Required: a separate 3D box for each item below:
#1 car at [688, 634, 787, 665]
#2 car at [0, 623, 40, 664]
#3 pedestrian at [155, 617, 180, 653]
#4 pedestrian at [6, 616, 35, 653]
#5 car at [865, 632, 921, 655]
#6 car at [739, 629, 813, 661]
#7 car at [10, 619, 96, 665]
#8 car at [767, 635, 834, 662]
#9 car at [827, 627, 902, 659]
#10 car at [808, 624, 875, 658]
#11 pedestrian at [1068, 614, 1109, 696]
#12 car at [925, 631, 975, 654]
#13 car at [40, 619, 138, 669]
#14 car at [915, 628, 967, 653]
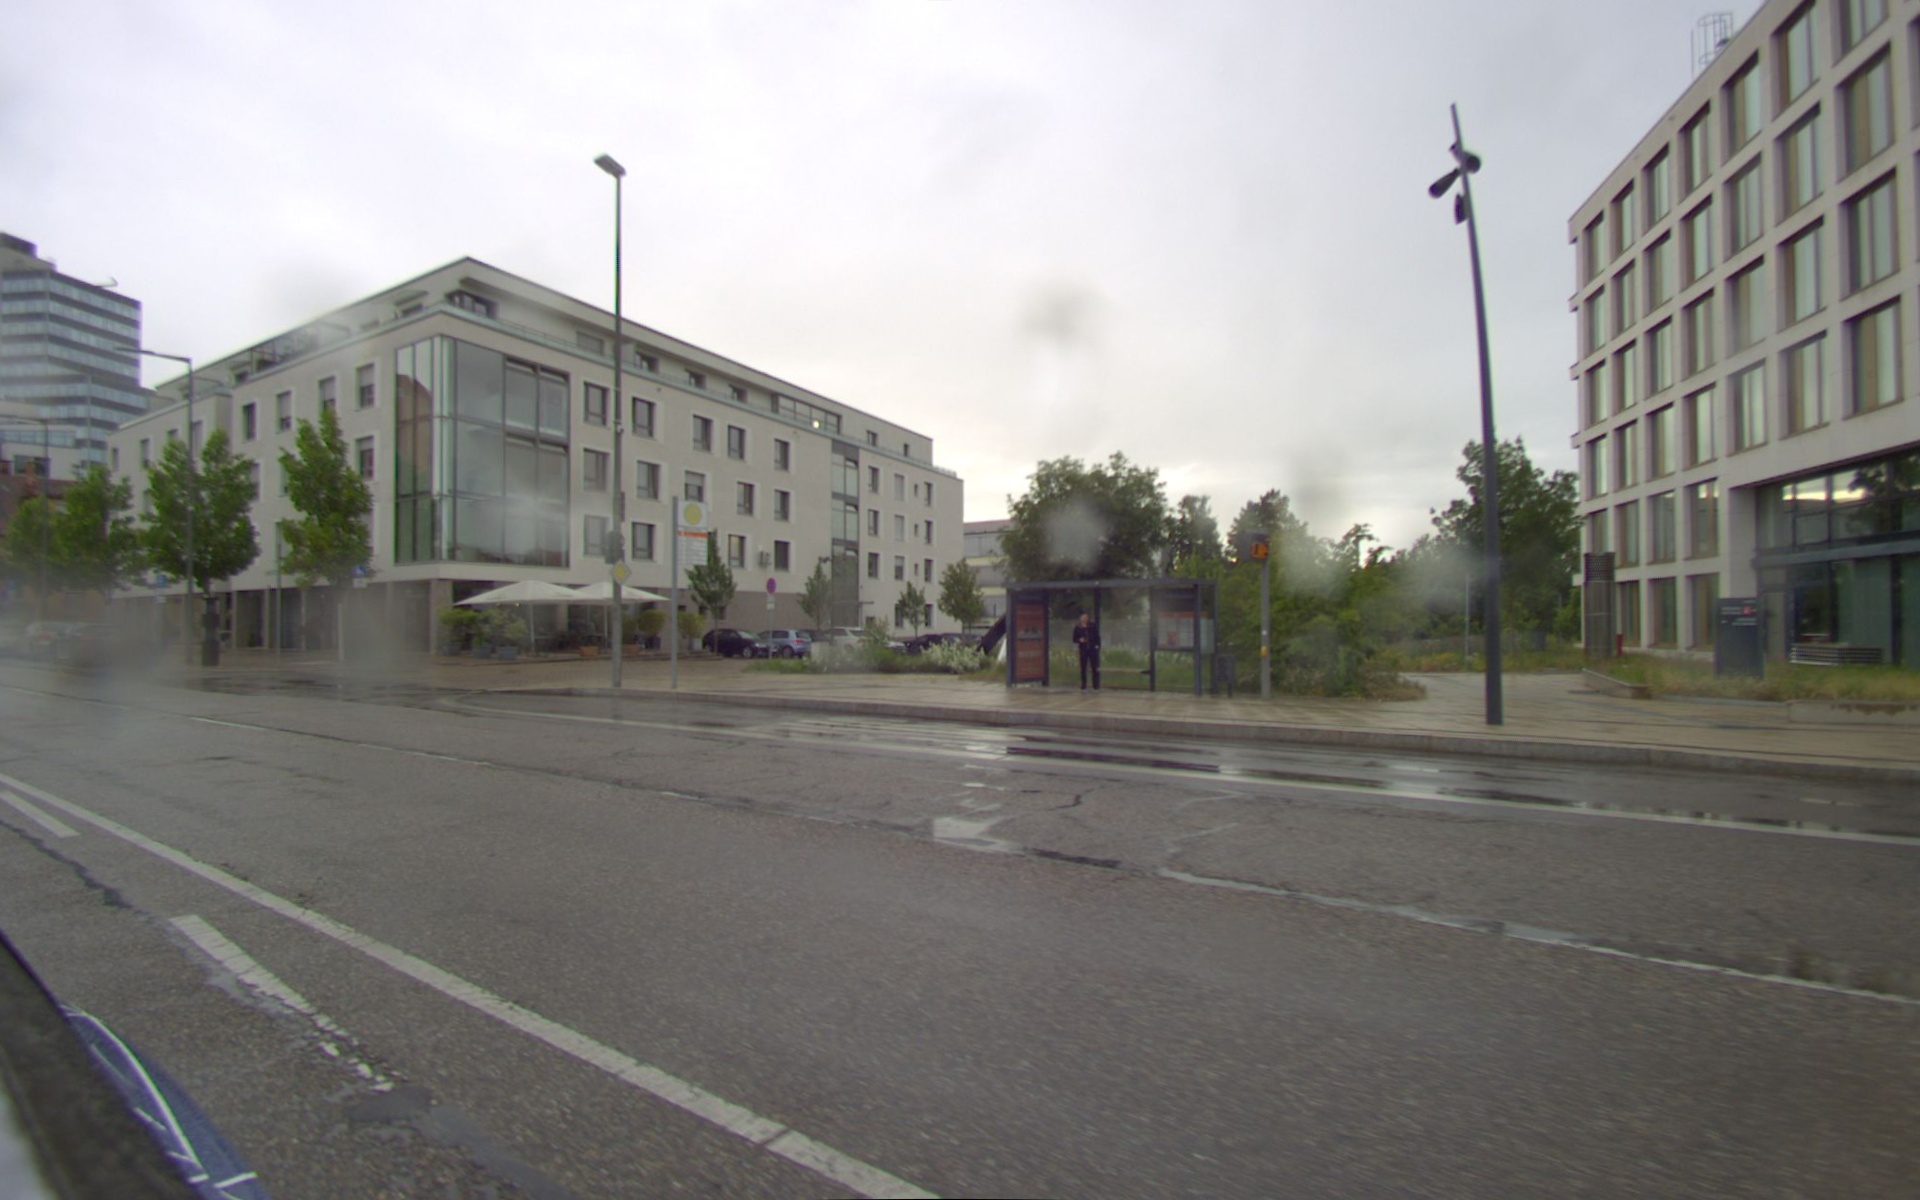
[{"bbox_3d":[-10.749,2.351,48.886,4.438,1.305,1.782,1,-1,21],"label":"car"},{"bbox_3d":[-39.403,1.745,41.296,4.467,1.473,1.780,1,0,35],"label":"car"},{"bbox_3d":[-39.084,1.730,49.919,0.797,1.751,1.006,2,-1,-31],"label":"pedestrian"},{"bbox_3d":[-47.975,1.757,51.672,0.878,1.801,0.795,1,-1,29],"label":"pedestrian"},{"bbox_3d":[-4.216,2.724,63.918,3.071,1.336,1.712,1,-1,24],"label":"car"},{"bbox_3d":[-9.331,2.260,51.317,3.407,1.470,1.492,1,-1,19],"label":"car"},{"bbox_3d":[-34.200,1.551,38.121,4.572,1.521,1.674,1,-1,39],"label":"car"},{"bbox_3d":[-8.450,2.549,53.554,3.236,1.230,1.388,1,-1,21],"label":"car"},{"bbox_3d":[-5.613,2.503,59.579,3.968,1.702,1.988,1,-1,19],"label":"car"},{"bbox_3d":[-6.712,2.278,57.283,3.433,1.790,1.481,1,-1,21],"label":"car"},{"bbox_3d":[2.828,1.191,22.240,0.669,1.758,0.779,1,-1,22],"label":"pedestrian"},{"bbox_3d":[-0.670,2.960,70.939,3.198,1.493,1.435,1,-1,21],"label":"car"},{"bbox_3d":[-29.804,1.478,34.589,4.462,1.594,1.573,-1,-2,36],"label":"car"},{"bbox_3d":[-1.294,2.735,68.330,3.189,1.570,1.506,1,-1,23],"label":"car"}]
